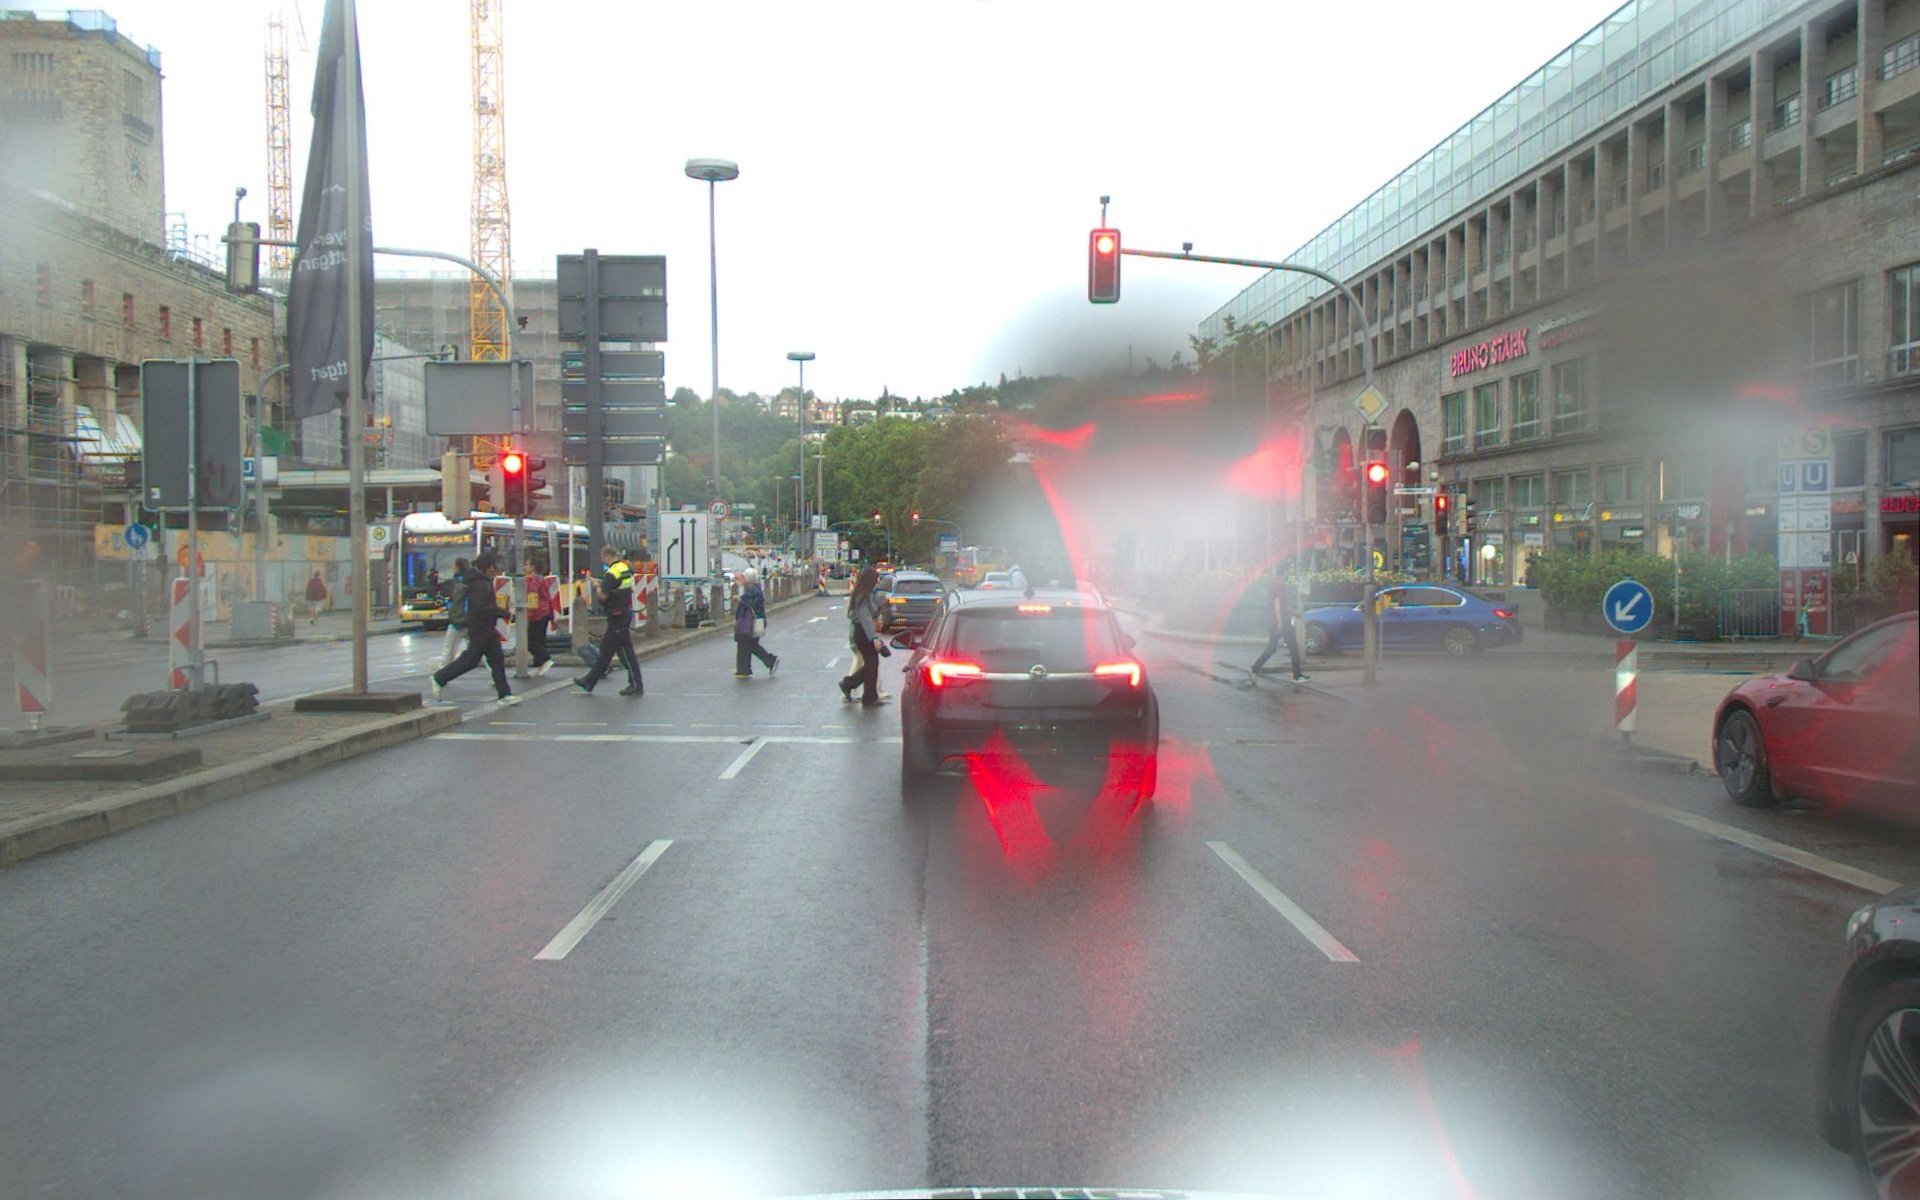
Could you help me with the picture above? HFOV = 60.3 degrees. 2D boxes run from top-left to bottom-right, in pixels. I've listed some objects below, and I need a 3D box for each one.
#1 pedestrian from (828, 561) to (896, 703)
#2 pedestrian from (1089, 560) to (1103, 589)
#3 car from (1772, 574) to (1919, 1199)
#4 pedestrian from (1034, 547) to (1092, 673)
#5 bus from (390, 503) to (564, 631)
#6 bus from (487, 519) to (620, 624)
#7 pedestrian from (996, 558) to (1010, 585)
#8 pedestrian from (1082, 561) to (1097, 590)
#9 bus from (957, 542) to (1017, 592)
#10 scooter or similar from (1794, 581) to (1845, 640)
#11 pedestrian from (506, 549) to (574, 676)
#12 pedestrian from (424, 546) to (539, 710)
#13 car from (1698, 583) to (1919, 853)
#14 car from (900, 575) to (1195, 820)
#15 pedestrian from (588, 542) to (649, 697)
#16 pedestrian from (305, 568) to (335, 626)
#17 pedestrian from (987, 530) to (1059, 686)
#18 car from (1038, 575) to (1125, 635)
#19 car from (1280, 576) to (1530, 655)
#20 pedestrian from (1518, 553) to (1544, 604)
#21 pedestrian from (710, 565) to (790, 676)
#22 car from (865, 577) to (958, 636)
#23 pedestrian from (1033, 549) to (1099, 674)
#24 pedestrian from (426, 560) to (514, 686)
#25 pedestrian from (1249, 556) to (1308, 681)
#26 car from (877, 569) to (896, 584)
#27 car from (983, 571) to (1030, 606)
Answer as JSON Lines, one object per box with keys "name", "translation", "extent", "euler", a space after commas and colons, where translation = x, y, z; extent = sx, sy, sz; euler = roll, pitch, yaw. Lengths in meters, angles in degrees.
{"name": "pedestrian", "translation": [-1.174, 0.372, 19.810], "extent": [0.778, 1.654, 0.899], "euler": [1, 0, -4]}
{"name": "pedestrian", "translation": [8.152, -1.542, 99.171], "extent": [0.748, 1.720, 0.824], "euler": [1, 0, -5]}
{"name": "car", "translation": [3.034, 0.728, 2.018], "extent": [1.757, 1.528, 4.628], "euler": [1, 0, -1]}
{"name": "pedestrian", "translation": [1.446, 0.143, 23.264], "extent": [0.740, 1.747, 0.466], "euler": [1, 0, -4]}
{"name": "bus", "translation": [-15.170, -0.976, 52.890], "extent": [2.614, 3.664, 10.238], "euler": [1, 0, -1]}
{"name": "bus", "translation": [-15.304, -1.030, 63.074], "extent": [2.614, 3.664, 10.210], "euler": [1, 0, -1]}
{"name": "pedestrian", "translation": [3.904, -2.591, 150.621], "extent": [1.174, 2.478, 1.228], "euler": [1, 0, 0]}
{"name": "pedestrian", "translation": [7.842, -1.489, 100.294], "extent": [0.748, 1.720, 0.824], "euler": [1, 0, -5]}
{"name": "bus", "translation": [1.916, -2.376, 125.642], "extent": [4.088, 3.529, 14.652], "euler": [1, 0, -1]}
{"name": "scooter or similar", "translation": [17.865, 0.212, 34.402], "extent": [0.285, 1.210, 1.014], "euler": [1, 0, -19]}
{"name": "pedestrian", "translation": [-5.925, 0.171, 23.374], "extent": [0.783, 1.747, 0.619], "euler": [-2, 0, -4]}
{"name": "pedestrian", "translation": [-5.409, 0.314, 18.743], "extent": [1.074, 1.782, 0.653], "euler": [-2, 0, -3]}
{"name": "car", "translation": [6.299, 0.672, 9.706], "extent": [1.836, 1.512, 4.525], "euler": [1, 0, -1]}
{"name": "car", "translation": [0.512, 0.603, 12.371], "extent": [1.836, 1.512, 3.999], "euler": [1, 0, -1]}
{"name": "pedestrian", "translation": [-4.230, 0.235, 20.506], "extent": [0.566, 1.868, 0.820], "euler": [1, 0, -1]}
{"name": "pedestrian", "translation": [-21.159, -0.099, 54.690], "extent": [0.648, 1.887, 0.798], "euler": [-1, 0, -1]}
{"name": "pedestrian", "translation": [0.792, 0.099, 20.870], "extent": [0.784, 1.923, 0.619], "euler": [1, 0, -9]}
{"name": "car", "translation": [3.064, 0.113, 42.646], "extent": [1.718, 1.422, 4.400], "euler": [1, 0, -3]}
{"name": "car", "translation": [8.800, 0.280, 32.731], "extent": [4.541, 1.422, 1.758], "euler": [1, 0, 25]}
{"name": "pedestrian", "translation": [23.477, -0.887, 67.966], "extent": [0.747, 2.049, 0.825], "euler": [1, 0, -1]}
{"name": "pedestrian", "translation": [-3.093, 0.289, 24.366], "extent": [0.773, 1.588, 0.870], "euler": [1, 0, 42]}
{"name": "car", "translation": [-1.317, 0.144, 42.701], "extent": [1.721, 1.422, 4.526], "euler": [1, 0, -11]}
{"name": "pedestrian", "translation": [1.416, 0.154, 22.198], "extent": [0.783, 1.636, 0.619], "euler": [1, 0, -4]}
{"name": "pedestrian", "translation": [-6.313, 0.290, 21.342], "extent": [0.897, 1.591, 0.899], "euler": [1, 0, -4]}
{"name": "pedestrian", "translation": [4.630, 0.258, 24.046], "extent": [0.560, 1.783, 0.676], "euler": [1, 0, 42]}
{"name": "car", "translation": [-6.855, -2.180, 154.583], "extent": [1.723, 1.422, 3.563], "euler": [1, 0, -1]}
{"name": "car", "translation": [1.937, -0.489, 69.918], "extent": [1.808, 1.422, 3.563], "euler": [1, 0, -1]}
